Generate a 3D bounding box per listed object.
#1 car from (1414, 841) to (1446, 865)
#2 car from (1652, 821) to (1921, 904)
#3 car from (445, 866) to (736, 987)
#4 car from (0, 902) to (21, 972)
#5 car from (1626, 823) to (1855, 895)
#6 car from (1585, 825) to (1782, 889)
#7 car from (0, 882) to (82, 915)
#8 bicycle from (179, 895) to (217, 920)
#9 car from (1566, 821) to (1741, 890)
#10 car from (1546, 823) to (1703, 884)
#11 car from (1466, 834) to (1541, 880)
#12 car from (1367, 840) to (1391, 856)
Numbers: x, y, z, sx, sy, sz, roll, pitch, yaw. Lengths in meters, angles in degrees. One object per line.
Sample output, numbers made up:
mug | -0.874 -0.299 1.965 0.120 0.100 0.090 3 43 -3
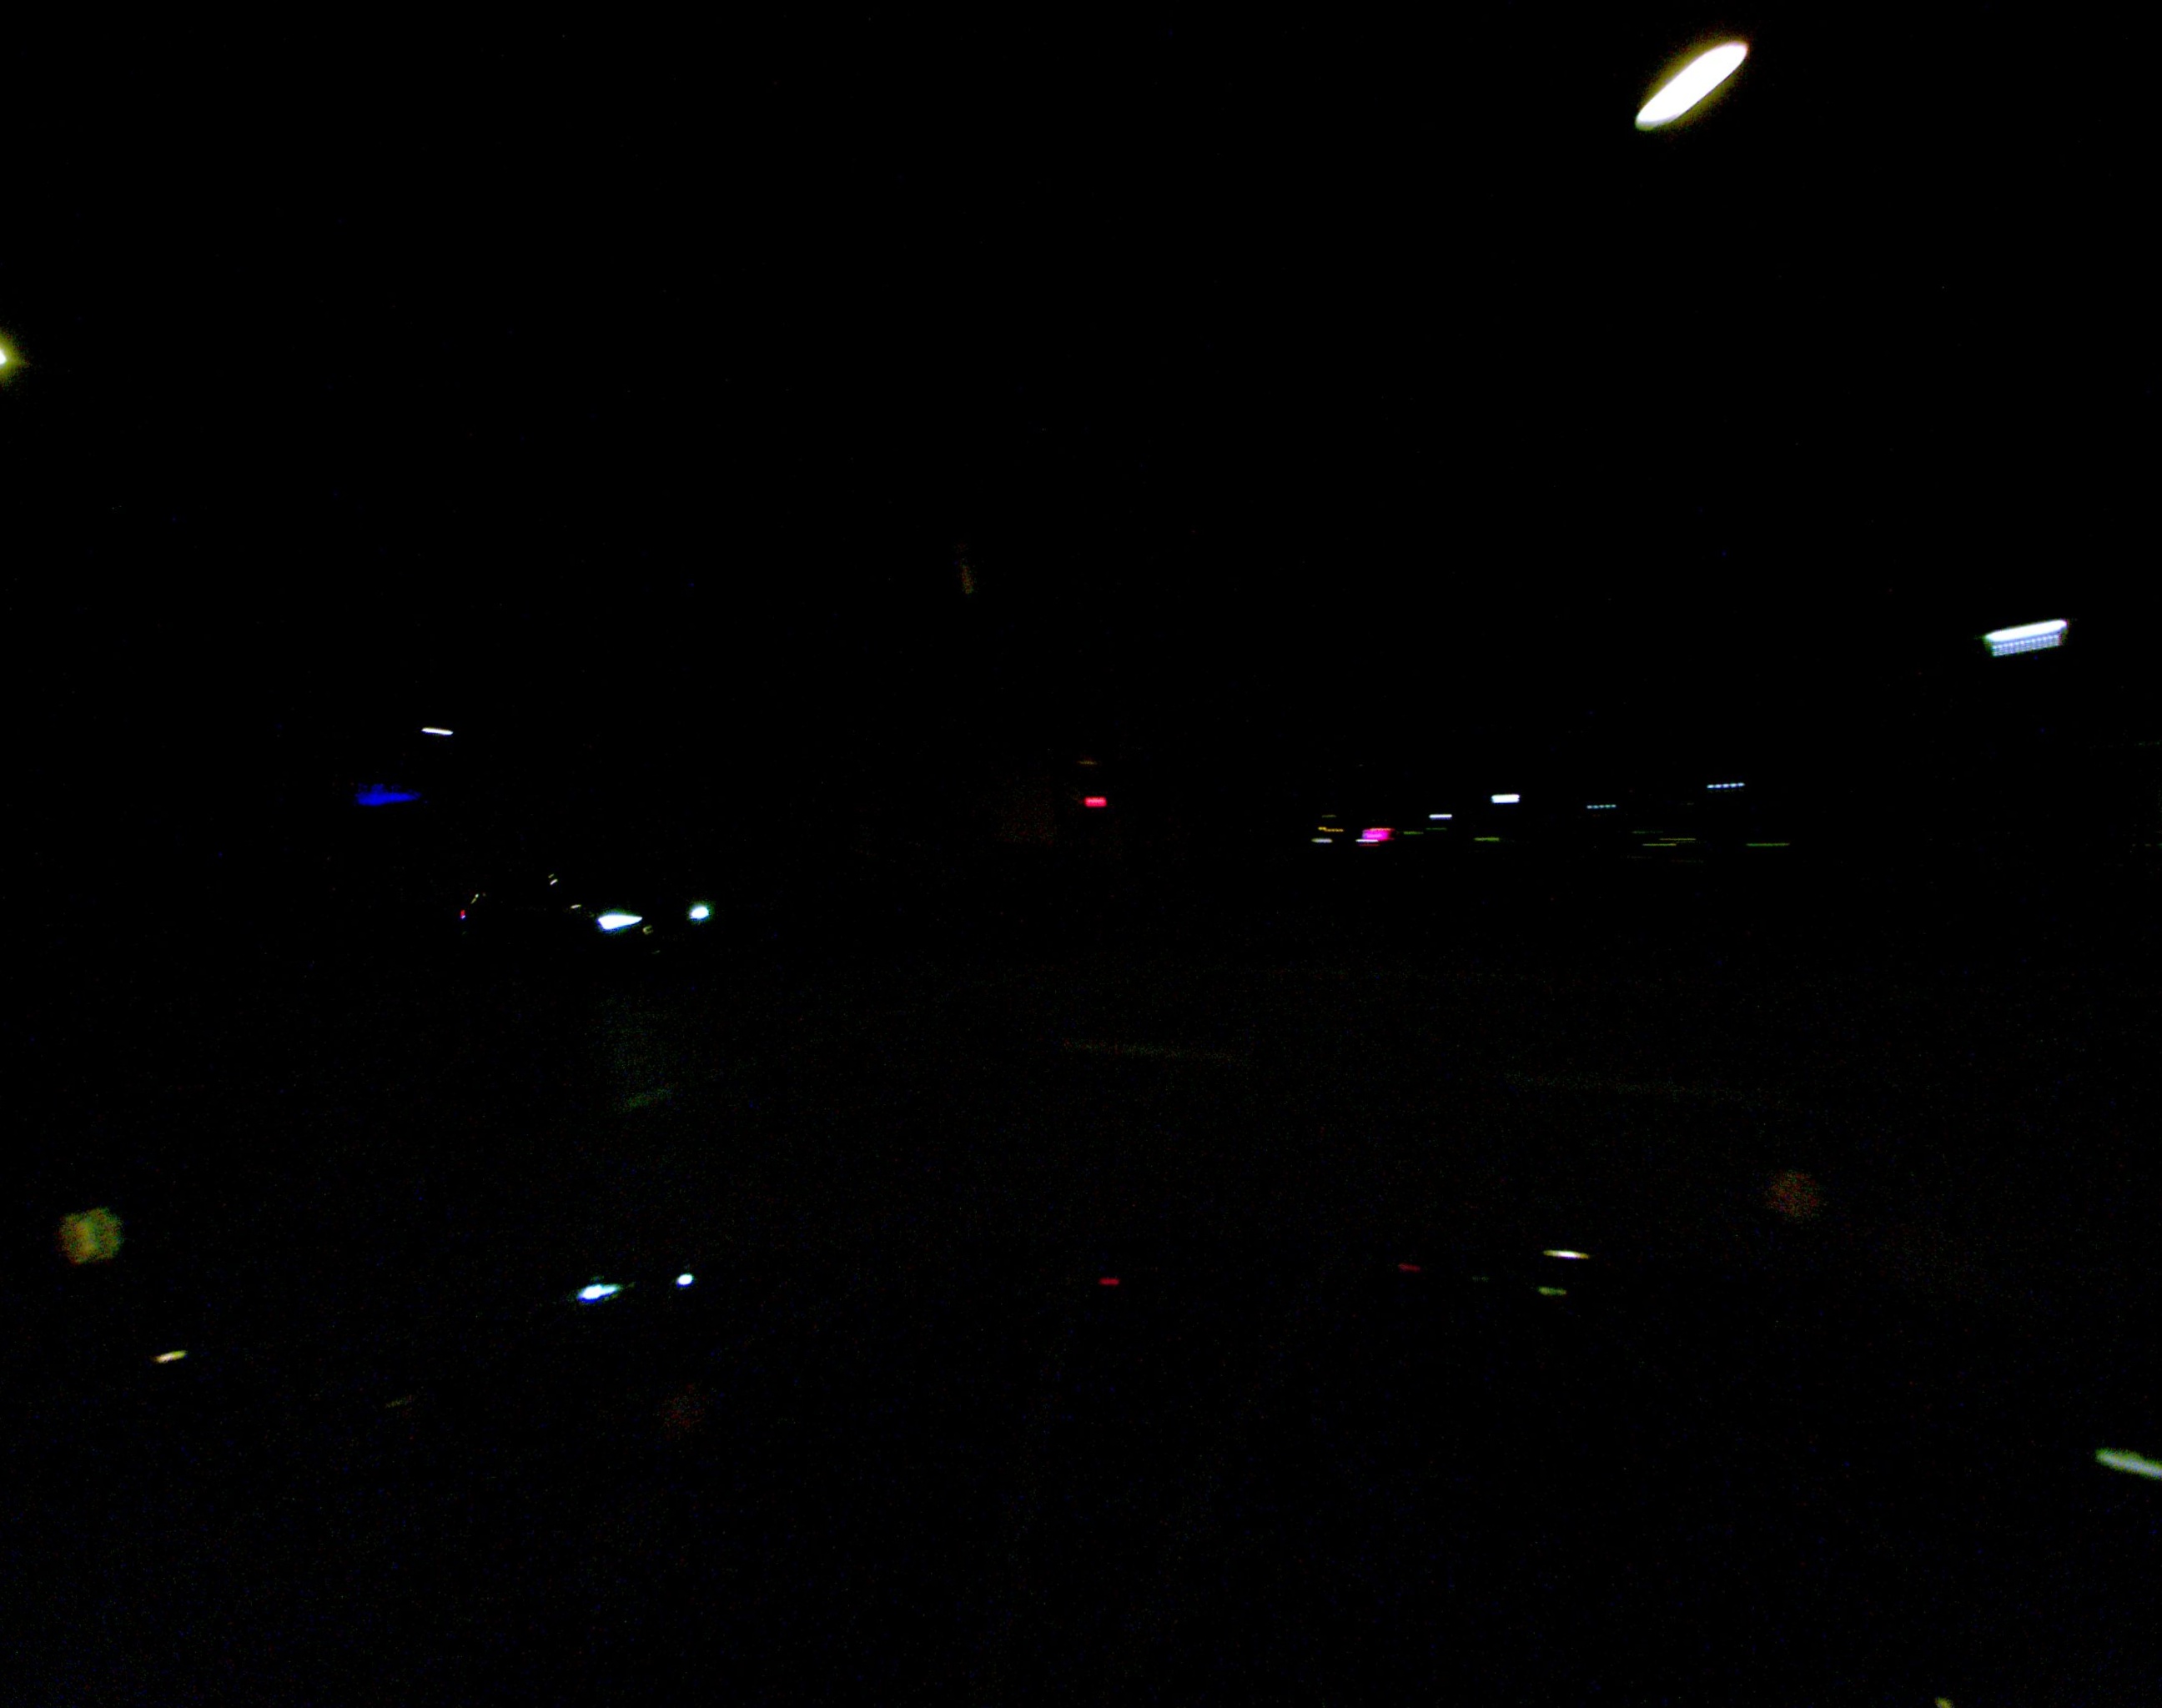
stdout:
car | 25.483 -0.092 55.556 1.995 1.625 4.006 -2 1 24
car | 15.716 0.185 17.241 3.991 1.613 2.002 -3 1 20
car | -7.807 1.078 12.121 3.990 1.606 2.003 -2 0 25
car | -25.655 1.876 16.598 4.536 1.480 1.868 -2 1 22
car | 16.782 0.114 19.625 3.991 1.613 2.002 -3 1 20
car | 17.174 0.074 21.910 3.991 1.613 2.002 -3 1 20
car | -69.511 2.936 50.312 1.903 1.878 4.007 -1 1 38
bicycle | -39.223 2.384 33.734 1.717 1.045 0.622 -2 1 25
car | 18.012 0.034 24.135 3.991 1.934 2.002 -3 1 20
car | 18.644 -0.035 26.311 3.991 1.875 2.002 -3 1 20
car | 17.524 0.087 31.723 1.996 1.771 4.005 -2 1 18
car | 32.127 -0.653 81.962 1.996 1.625 4.004 -2 1 15
